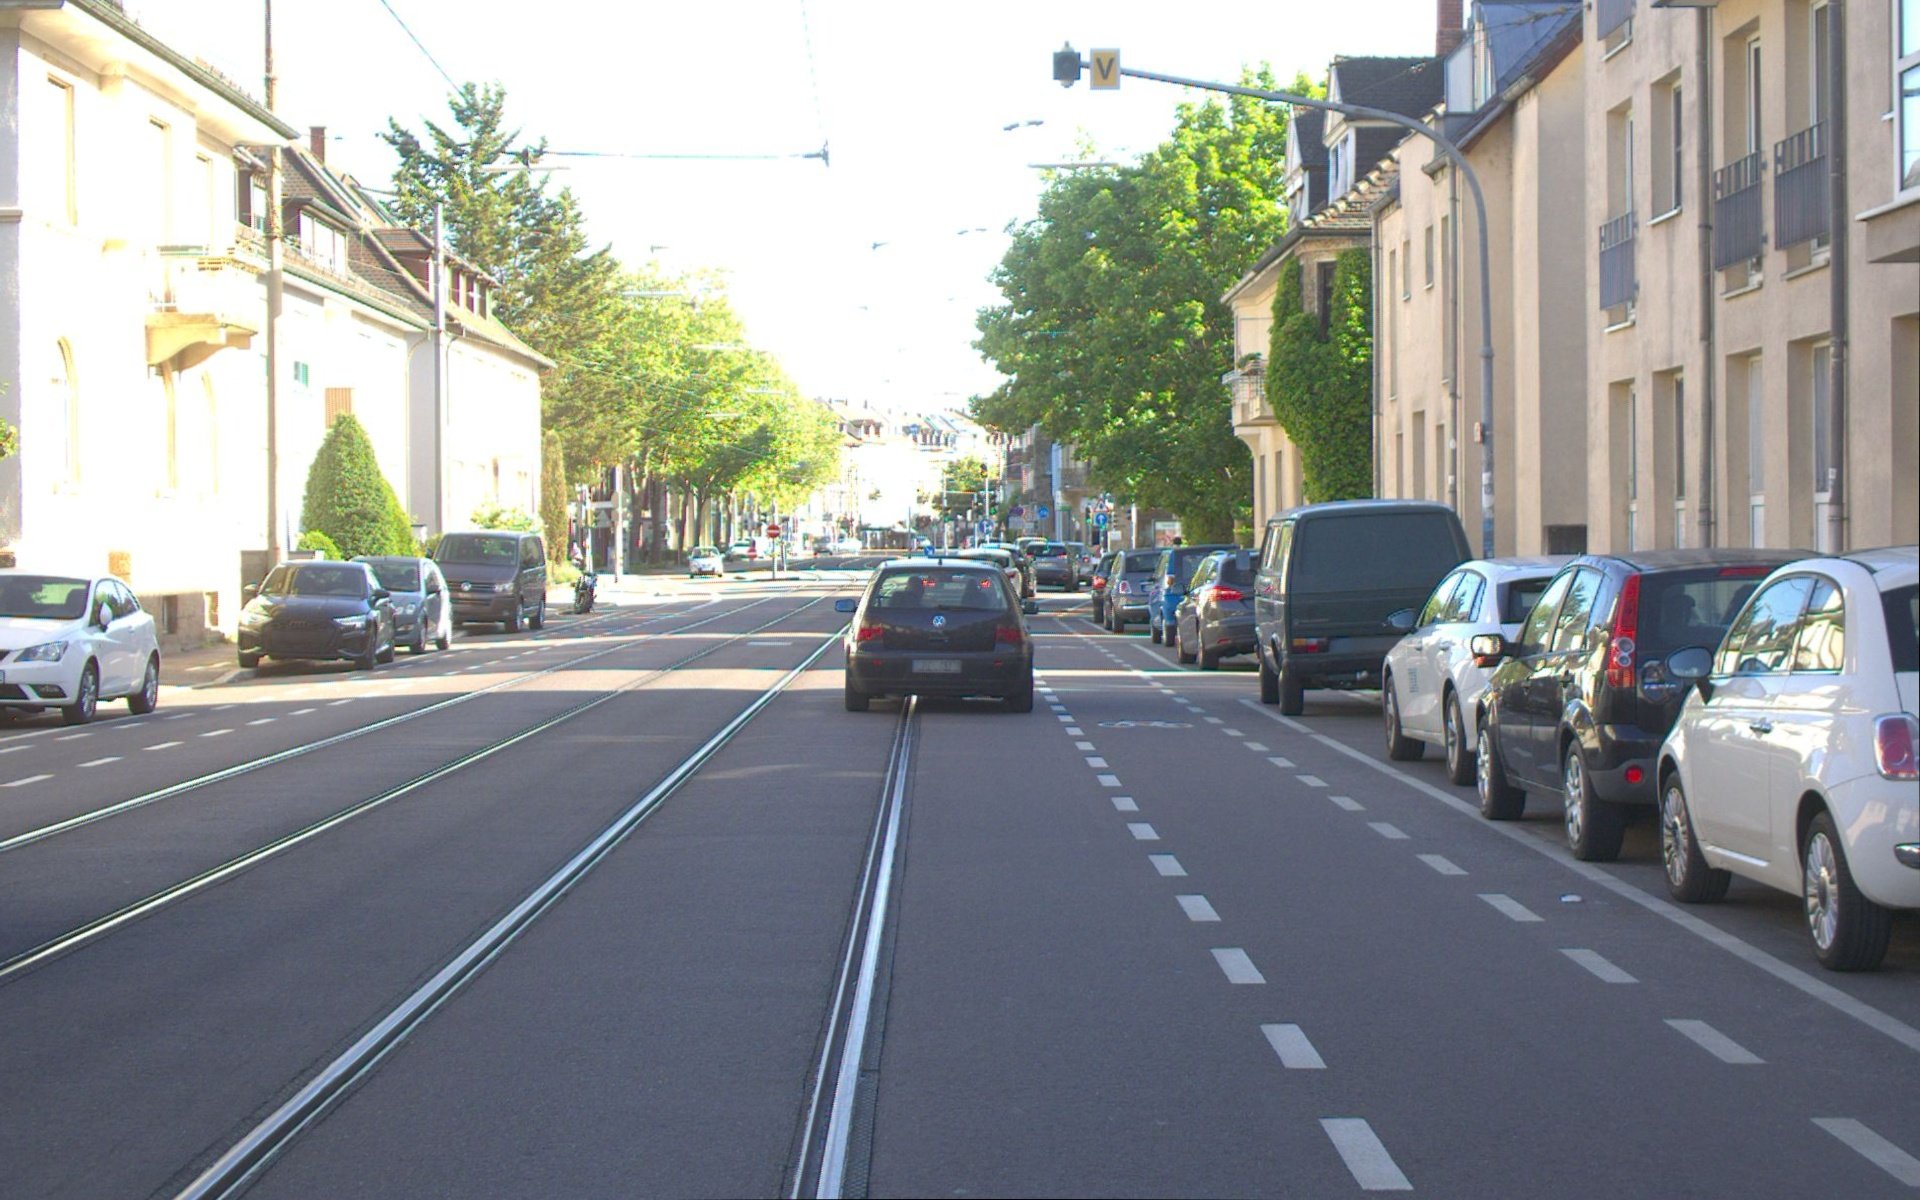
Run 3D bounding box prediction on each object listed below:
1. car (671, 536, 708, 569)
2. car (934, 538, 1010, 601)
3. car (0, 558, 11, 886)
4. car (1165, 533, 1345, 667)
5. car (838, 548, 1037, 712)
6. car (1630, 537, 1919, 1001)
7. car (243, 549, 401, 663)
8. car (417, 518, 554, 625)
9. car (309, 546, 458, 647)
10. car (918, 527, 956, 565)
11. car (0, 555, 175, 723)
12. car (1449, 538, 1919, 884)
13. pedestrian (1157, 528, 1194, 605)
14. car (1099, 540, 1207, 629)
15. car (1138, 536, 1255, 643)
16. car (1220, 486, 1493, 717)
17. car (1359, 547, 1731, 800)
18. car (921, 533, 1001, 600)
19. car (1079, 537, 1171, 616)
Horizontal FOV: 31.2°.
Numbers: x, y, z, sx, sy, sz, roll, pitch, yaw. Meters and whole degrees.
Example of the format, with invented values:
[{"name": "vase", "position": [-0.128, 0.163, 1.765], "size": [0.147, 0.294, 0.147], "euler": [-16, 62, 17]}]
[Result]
[{"name": "car", "position": [-12.520, -2.208, 159.048], "size": [1.575, 1.472, 3.441], "euler": [-1, 1, -6]}, {"name": "car", "position": [0.276, -0.740, 81.551], "size": [1.740, 1.436, 3.810], "euler": [0, 1, 0]}, {"name": "car", "position": [-5.024, 0.447, 12.844], "size": [1.703, 1.699, 4.364], "euler": [-2, 1, 0]}, {"name": "car", "position": [3.730, -0.039, 44.125], "size": [1.744, 1.593, 4.434], "euler": [1, 1, -2]}, {"name": "car", "position": [-0.202, 0.235, 32.286], "size": [1.716, 1.398, 4.006], "euler": [1, 1, 0]}, {"name": "car", "position": [3.708, 0.551, 13.249], "size": [1.496, 1.552, 3.365], "euler": [1, 1, -1]}, {"name": "car", "position": [-8.729, 0.043, 47.292], "size": [1.662, 1.472, 4.251], "euler": [0, 1, -4]}, {"name": "car", "position": [-9.328, -0.589, 67.953], "size": [1.906, 2.007, 4.949], "euler": [1, 1, 1]}, {"name": "car", "position": [-9.002, -0.081, 53.966], "size": [1.676, 1.472, 3.835], "euler": [1, 1, 0]}, {"name": "car", "position": [-1.200, -2.783, 176.642], "size": [1.787, 1.853, 4.001], "euler": [2, 1, -2]}, {"name": "car", "position": [-8.695, 0.335, 32.406], "size": [1.631, 1.452, 4.016], "euler": [-2, 1, 0]}, {"name": "car", "position": [3.599, 0.479, 17.629], "size": [1.554, 1.552, 3.652], "euler": [1, 1, -1]}, {"name": "pedestrian", "position": [4.836, -0.754, 77.085], "size": [0.717, 1.682, 0.870], "euler": [-2, 1, -1]}, {"name": "car", "position": [3.469, -0.306, 62.330], "size": [1.601, 1.520, 3.550], "euler": [1, 1, -2]}, {"name": "car", "position": [3.681, -0.193, 53.921], "size": [1.457, 1.593, 3.294], "euler": [1, 1, -2]}, {"name": "car", "position": [3.637, -0.031, 32.326], "size": [1.905, 1.980, 4.563], "euler": [1, 1, -1]}, {"name": "car", "position": [3.807, 0.414, 23.037], "size": [1.677, 1.486, 4.173], "euler": [1, 1, -1]}, {"name": "car", "position": [0.028, -0.733, 72.687], "size": [1.634, 1.367, 3.757], "euler": [-1, 1, 1]}, {"name": "car", "position": [3.382, -0.494, 71.031], "size": [1.665, 1.558, 3.771], "euler": [1, 1, 0]}]
